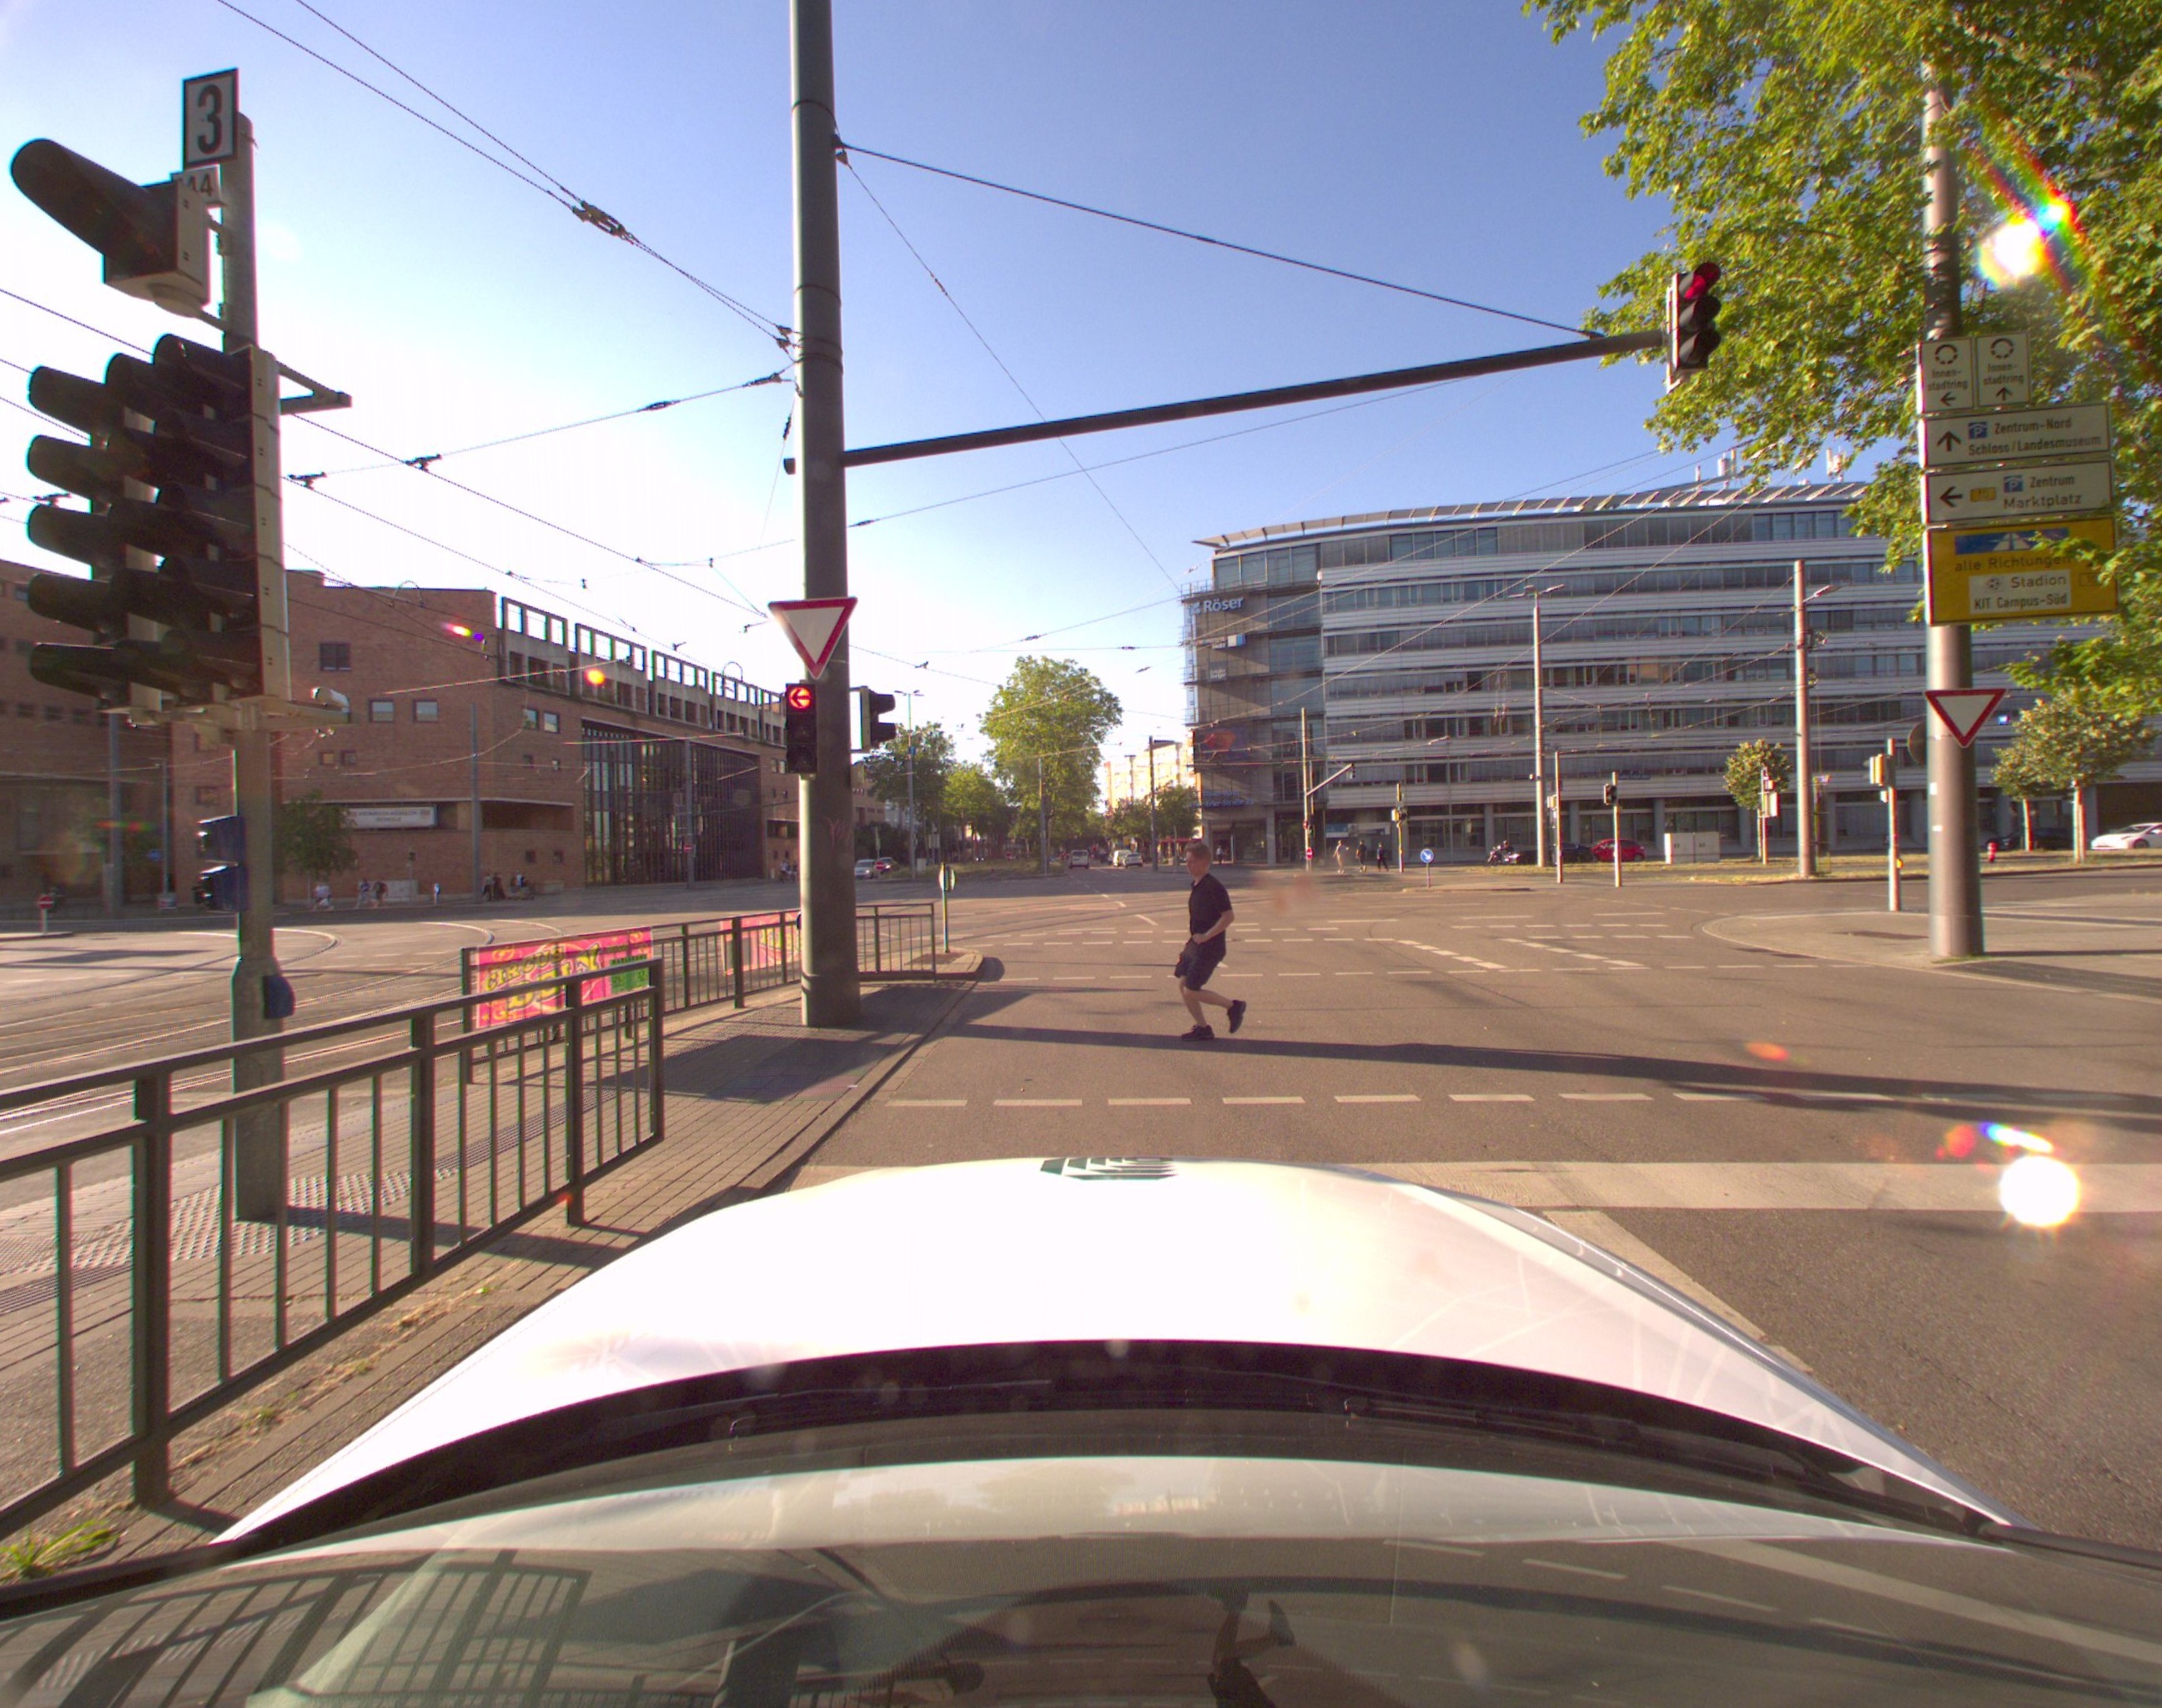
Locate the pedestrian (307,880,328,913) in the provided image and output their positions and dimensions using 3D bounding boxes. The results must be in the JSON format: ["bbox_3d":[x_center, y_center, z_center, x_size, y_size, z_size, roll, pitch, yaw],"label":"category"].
[{"bbox_3d":[-38.891,2.149,41.487,0.594,1.648,0.552,-2,0,22],"label":"pedestrian"}]

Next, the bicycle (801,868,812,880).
[{"bbox_3d":[-24.356,1.764,72.283,0.449,0.963,1.348,-2,0,2],"label":"bicycle"}]

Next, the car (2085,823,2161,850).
[{"bbox_3d":[56.367,-0.944,42.822,4.580,1.336,1.789,-2,0,7],"label":"car"}]

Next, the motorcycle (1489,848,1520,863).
[{"bbox_3d":[25.477,0.095,49.032,1.560,0.810,0.468,-2,0,6],"label":"motorcycle"}]

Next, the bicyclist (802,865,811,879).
[{"bbox_3d":[-24.347,1.580,72.243,0.503,1.179,0.581,-2,0,1],"label":"bicyclist"}]

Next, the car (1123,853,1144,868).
[{"bbox_3d":[5.287,0.625,82.820,1.986,1.376,4.002,-2,0,2],"label":"car"}]

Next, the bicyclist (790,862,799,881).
[{"bbox_3d":[-23.368,1.427,66.520,0.456,1.603,0.581,-2,0,1],"label":"bicyclist"}]

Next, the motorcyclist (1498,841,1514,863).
[{"bbox_3d":[25.601,-0.138,49.020,0.708,1.275,0.460,-2,0,5],"label":"motorcyclist"}]

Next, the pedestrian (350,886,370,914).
[{"bbox_3d":[-38.954,2.483,43.982,0.562,1.453,0.618,-2,0,30],"label":"pedestrian"}]

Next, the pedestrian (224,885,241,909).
[{"bbox_3d":[-50.824,2.570,48.789,0.549,1.427,0.563,-2,0,32],"label":"pedestrian"}]

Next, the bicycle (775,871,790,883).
[{"bbox_3d":[-24.315,1.872,66.309,0.540,0.963,1.587,-2,0,2],"label":"bicycle"}]

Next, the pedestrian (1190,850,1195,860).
[{"bbox_3d":[14.537,0.153,106.249,0.575,1.289,0.910,-2,0,2],"label":"pedestrian"}]

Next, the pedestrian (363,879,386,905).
[{"bbox_3d":[-37.633,2.019,43.386,0.598,1.339,0.684,-2,0,13],"label":"pedestrian"}]

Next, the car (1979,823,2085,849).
[{"bbox_3d":[58.553,-1.072,50.218,4.136,1.398,1.789,-2,0,7],"label":"car"}]

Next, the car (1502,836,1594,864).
[{"bbox_3d":[26.428,-0.238,46.210,4.136,1.398,1.789,-2,0,7],"label":"car"}]

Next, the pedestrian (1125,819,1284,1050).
[{"bbox_3d":[0.982,0.606,6.656,1.089,1.748,0.740,-1,0,-10],"label":"pedestrian"}]

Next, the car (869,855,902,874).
[{"bbox_3d":[-18.119,0.969,75.525,1.987,1.640,4.001,-2,0,1],"label":"car"}]

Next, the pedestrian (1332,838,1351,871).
[{"bbox_3d":[14.451,0.039,45.255,0.858,1.788,0.874,-2,0,12],"label":"pedestrian"}]

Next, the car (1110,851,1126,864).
[{"bbox_3d":[4.816,0.481,105.293,1.986,1.618,4.002,-2,0,2],"label":"car"}]

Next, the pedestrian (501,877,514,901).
[{"bbox_3d":[-35.305,2.147,50.130,0.603,1.421,0.634,-2,0,-40],"label":"pedestrian"}]

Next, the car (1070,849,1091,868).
[{"bbox_3d":[-0.008,0.443,81.569,1.953,1.848,5.332,-2,0,2],"label":"car"}]

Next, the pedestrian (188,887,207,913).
[{"bbox_3d":[-51.628,2.706,47.588,0.583,1.463,0.537,-2,0,24],"label":"pedestrian"}]

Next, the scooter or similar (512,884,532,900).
[{"bbox_3d":[-33.730,2.286,49.147,0.956,0.899,0.173,-2,0,-45],"label":"scooter or similar"}]

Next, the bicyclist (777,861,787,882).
[{"bbox_3d":[-24.333,1.410,66.234,0.534,1.731,0.581,-2,0,1],"label":"bicyclist"}]

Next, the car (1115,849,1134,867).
[{"bbox_3d":[4.740,0.454,89.637,1.986,1.860,4.002,-2,0,2],"label":"car"}]

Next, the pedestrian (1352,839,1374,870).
[{"bbox_3d":[15.882,0.027,45.872,0.907,1.685,1.038,-2,0,9],"label":"pedestrian"}]

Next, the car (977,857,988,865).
[{"bbox_3d":[-24.374,1.648,201.124,1.986,1.816,4.002,-2,0,2],"label":"car"}]

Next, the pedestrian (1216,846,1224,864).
[{"bbox_3d":[11.969,0.082,70.093,0.608,1.507,0.580,-2,0,10],"label":"pedestrian"}]

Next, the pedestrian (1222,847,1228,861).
[{"bbox_3d":[15.782,0.026,89.250,0.608,1.507,0.580,-2,0,9],"label":"pedestrian"}]

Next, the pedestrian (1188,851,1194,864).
[{"bbox_3d":[14.161,0.461,104.824,0.741,1.714,0.612,-2,0,1],"label":"pedestrian"}]

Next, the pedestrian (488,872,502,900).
[{"bbox_3d":[-36.343,1.975,50.521,0.566,1.683,0.553,-2,0,43],"label":"pedestrian"}]

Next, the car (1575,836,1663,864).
[{"bbox_3d":[32.014,-0.221,48.569,3.966,1.393,1.789,-4,0,7],"label":"car"}]

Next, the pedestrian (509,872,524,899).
[{"bbox_3d":[-35.543,1.983,51.262,0.621,1.625,0.605,-2,0,-43],"label":"pedestrian"}]

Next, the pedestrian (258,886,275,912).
[{"bbox_3d":[-48.345,2.675,48.335,0.508,1.463,0.466,-2,0,-6],"label":"pedestrian"}]

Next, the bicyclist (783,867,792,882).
[{"bbox_3d":[-25.027,1.742,69.441,0.503,1.304,0.581,-2,0,1],"label":"bicyclist"}]

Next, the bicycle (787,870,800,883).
[{"bbox_3d":[-23.438,1.814,66.364,0.471,0.963,1.576,-2,0,2],"label":"bicycle"}]

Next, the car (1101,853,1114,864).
[{"bbox_3d":[4.088,0.660,126.775,1.986,1.618,4.002,-2,0,2],"label":"car"}]

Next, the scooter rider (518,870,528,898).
[{"bbox_3d":[-33.722,1.814,49.192,0.441,1.647,0.226,-2,0,-44],"label":"scooter rider"}]

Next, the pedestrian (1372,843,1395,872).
[{"bbox_3d":[16.588,0.205,44.651,0.943,1.564,0.899,-2,0,9],"label":"pedestrian"}]

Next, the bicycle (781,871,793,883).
[{"bbox_3d":[-25.029,1.971,69.424,0.466,0.963,1.320,-2,0,2],"label":"bicycle"}]

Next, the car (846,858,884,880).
[{"bbox_3d":[-18.008,1.225,67.950,1.987,1.640,4.001,-2,0,1],"label":"car"}]

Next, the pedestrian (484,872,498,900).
[{"bbox_3d":[-35.364,1.912,48.821,0.554,1.683,0.585,-2,0,-42],"label":"pedestrian"}]

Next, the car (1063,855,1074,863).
[{"bbox_3d":[-2.280,0.954,147.152,1.792,1.442,3.999,0,-1,0],"label":"car"}]

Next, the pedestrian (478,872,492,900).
[{"bbox_3d":[-36.119,1.918,49.358,0.624,1.683,0.644,-2,0,-34],"label":"pedestrian"}]

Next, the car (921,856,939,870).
[{"bbox_3d":[-23.023,1.326,124.027,1.987,2.013,3.999,-2,0,-1],"label":"car"}]
